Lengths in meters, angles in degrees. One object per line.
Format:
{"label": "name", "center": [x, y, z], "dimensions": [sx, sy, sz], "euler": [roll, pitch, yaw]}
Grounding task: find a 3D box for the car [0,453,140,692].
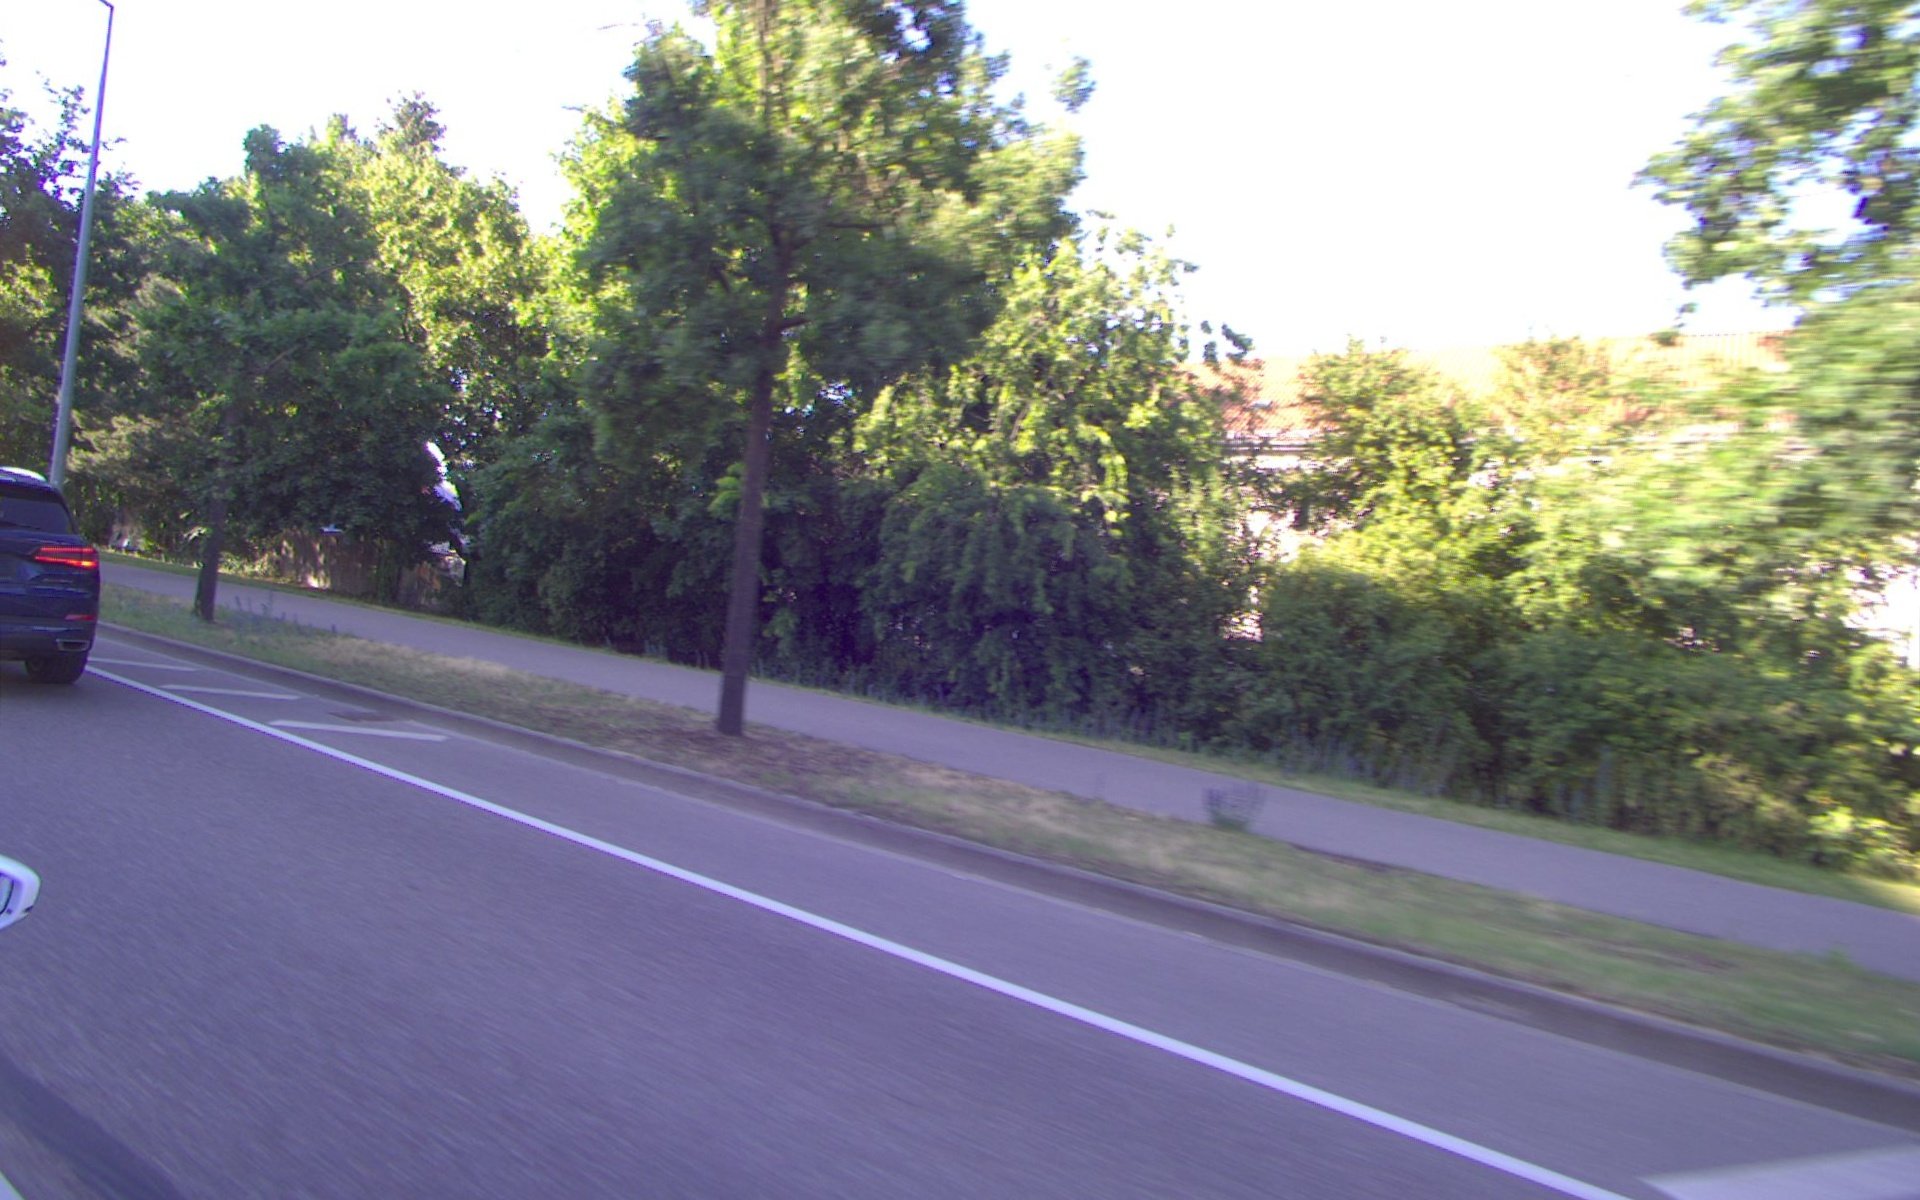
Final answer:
{"label": "car", "center": [-9.135, -0.413, 8.531], "dimensions": [4.623, 1.747, 1.957], "euler": [6, -2, 33]}
